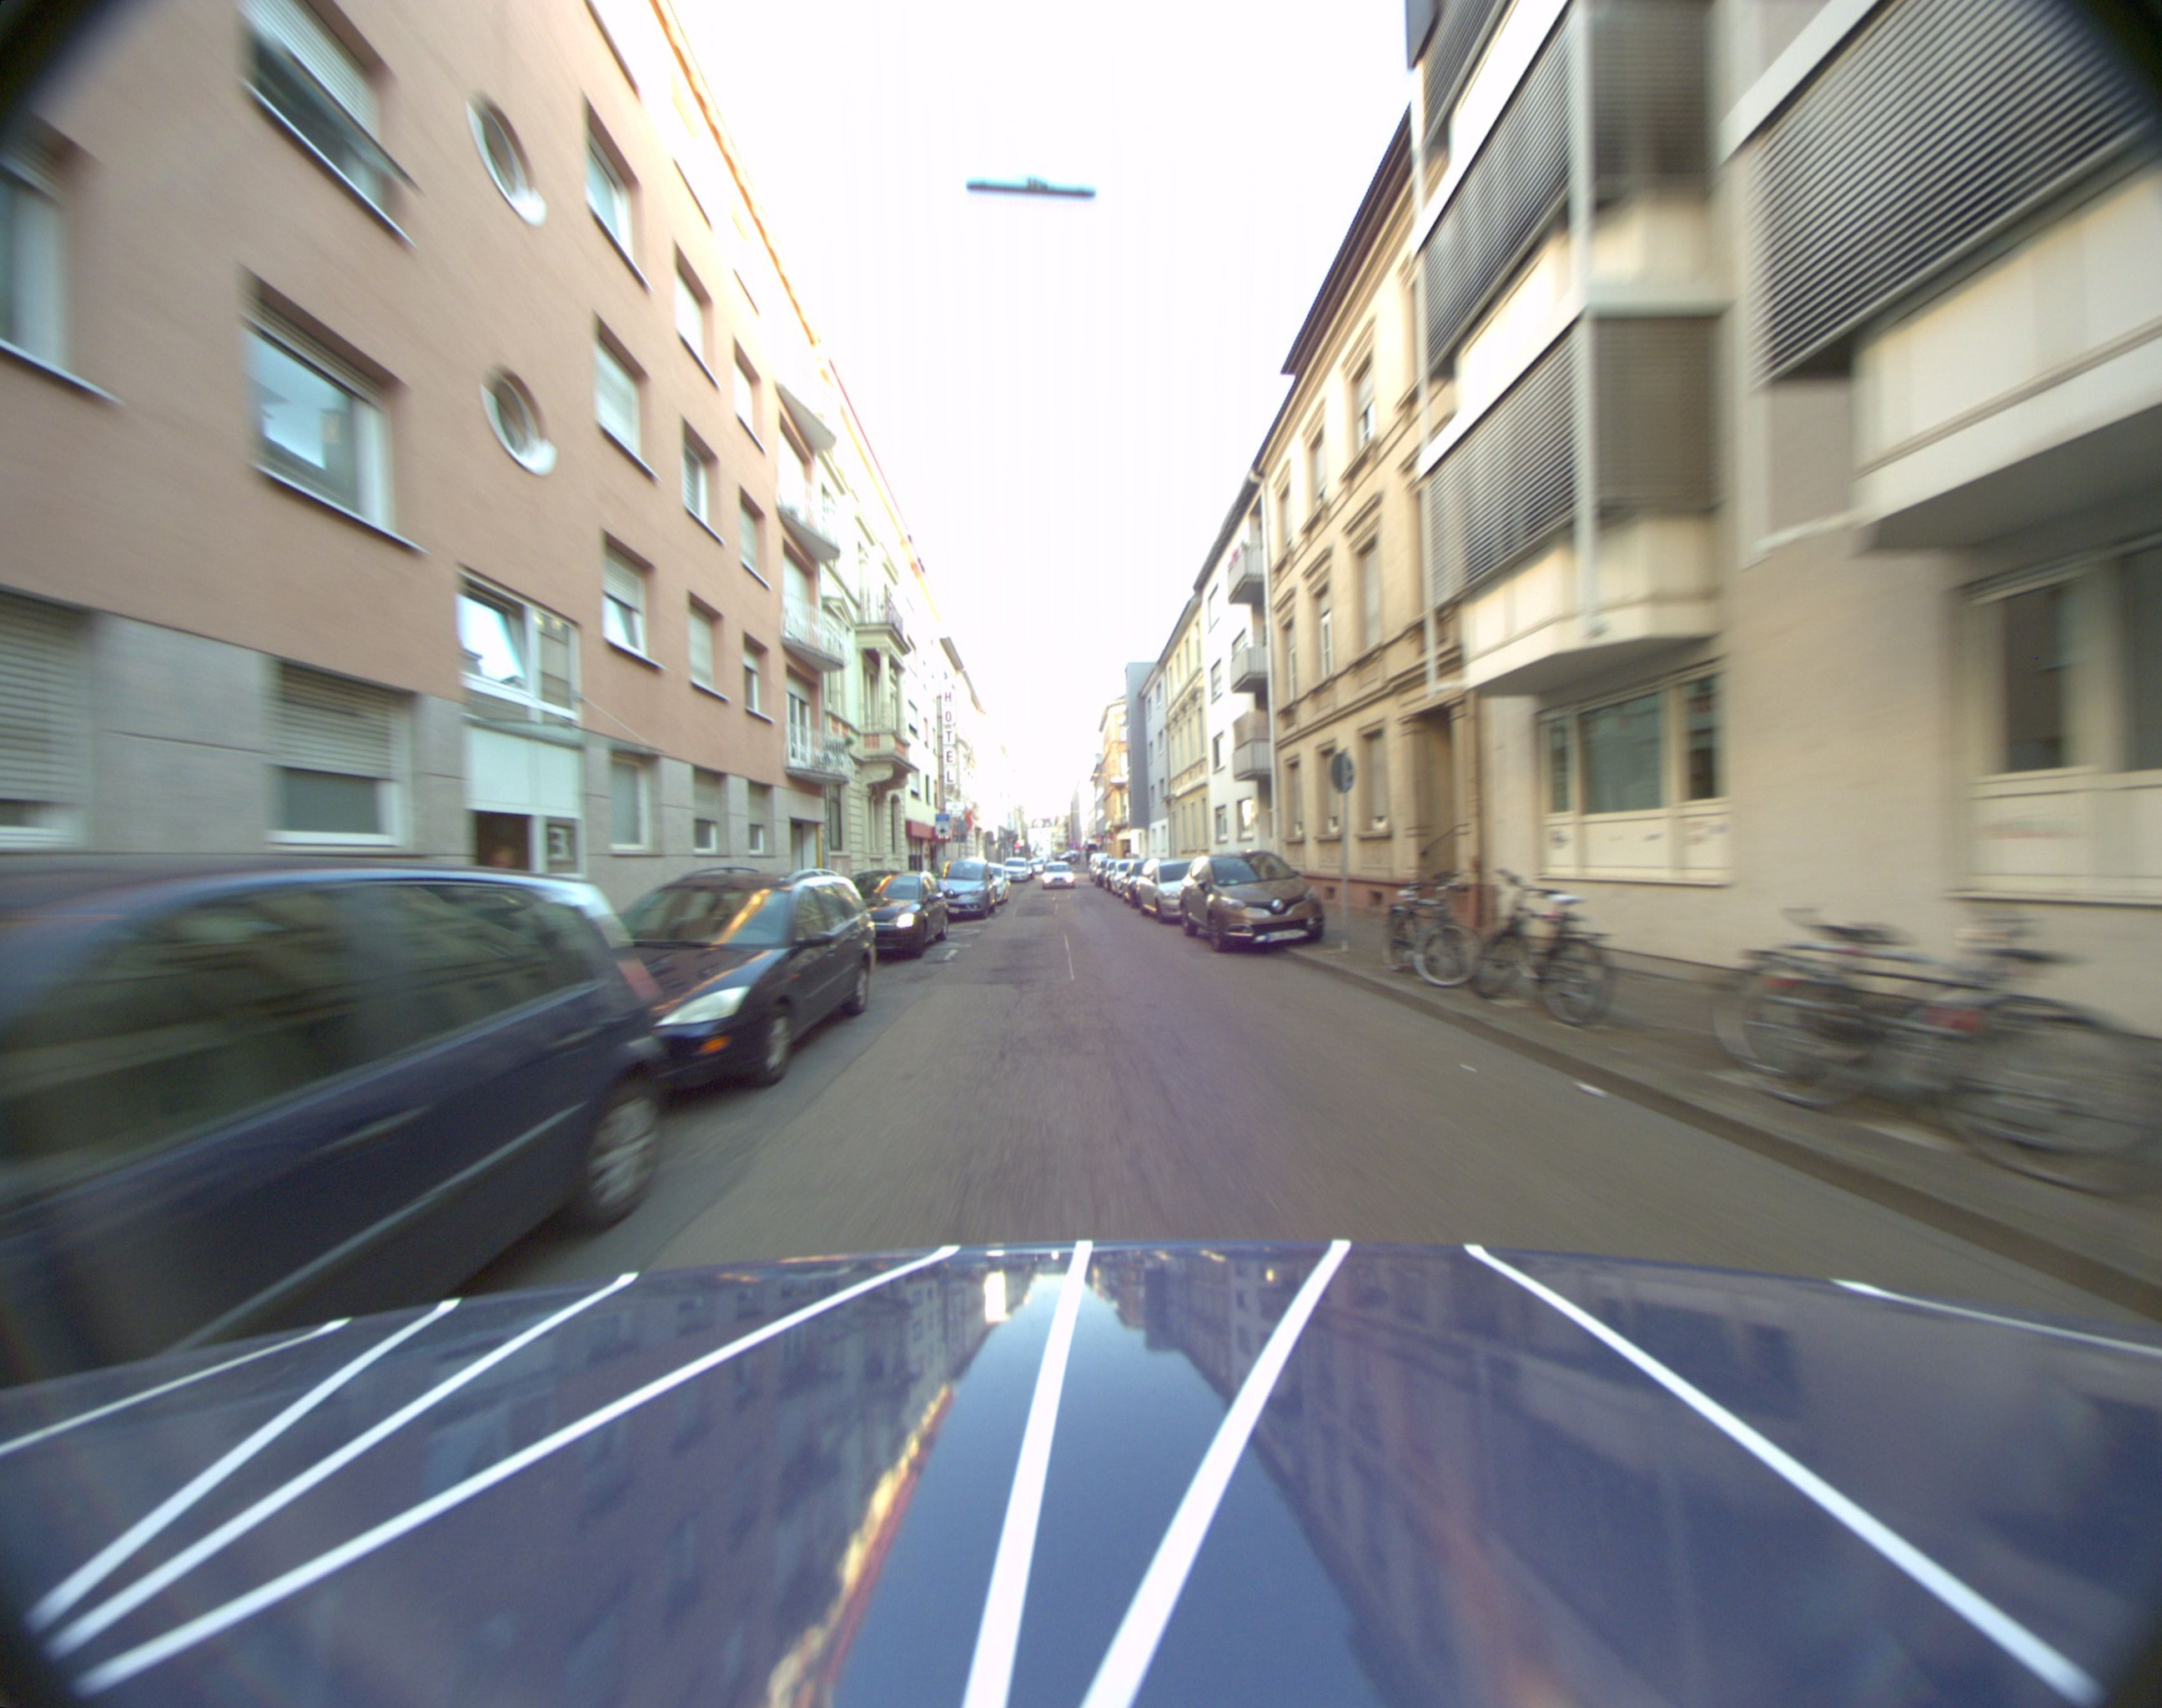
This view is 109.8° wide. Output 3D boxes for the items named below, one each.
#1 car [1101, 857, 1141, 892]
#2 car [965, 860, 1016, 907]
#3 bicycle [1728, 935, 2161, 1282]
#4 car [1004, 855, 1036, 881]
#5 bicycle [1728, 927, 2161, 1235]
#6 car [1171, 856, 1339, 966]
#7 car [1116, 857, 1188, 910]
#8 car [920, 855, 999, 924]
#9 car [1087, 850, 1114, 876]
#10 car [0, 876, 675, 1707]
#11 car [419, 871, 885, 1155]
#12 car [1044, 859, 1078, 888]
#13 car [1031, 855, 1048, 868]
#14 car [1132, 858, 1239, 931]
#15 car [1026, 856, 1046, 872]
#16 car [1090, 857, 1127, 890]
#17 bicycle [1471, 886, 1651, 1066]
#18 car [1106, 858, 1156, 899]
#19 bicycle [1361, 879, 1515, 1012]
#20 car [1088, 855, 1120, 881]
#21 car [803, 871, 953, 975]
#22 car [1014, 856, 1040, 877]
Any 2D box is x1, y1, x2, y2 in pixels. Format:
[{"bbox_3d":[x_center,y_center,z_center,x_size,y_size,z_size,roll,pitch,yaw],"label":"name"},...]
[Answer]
[{"bbox_3d":[1.869,0.923,36.350,1.642,1.480,3.953,-2,0,0],"label":"car"},{"bbox_3d":[-3.382,1.057,28.851,1.574,1.569,3.589,-2,0,-2],"label":"car"},{"bbox_3d":[3.971,0.999,3.544,0.308,1.036,1.813,-2,0,-1],"label":"bicycle"},{"bbox_3d":[-4.266,0.978,53.832,1.842,1.685,4.358,3,0,-1],"label":"car"},{"bbox_3d":[4.286,0.988,3.918,0.308,1.036,1.813,-2,0,-1],"label":"bicycle"},{"bbox_3d":[2.876,0.863,13.498,1.796,1.567,4.069,-2,0,-3],"label":"car"},{"bbox_3d":[2.265,0.906,25.354,1.795,1.530,4.493,-2,0,-2],"label":"car"},{"bbox_3d":[-3.409,0.942,21.994,1.694,1.731,4.108,-2,0,-2],"label":"car"},{"bbox_3d":[1.375,0.627,54.988,1.642,1.786,3.782,-2,0,-1],"label":"car"},{"bbox_3d":[-2.720,0.947,1.639,1.694,1.615,4.052,-2,0,-4],"label":"car"},{"bbox_3d":[-3.086,0.987,6.648,1.694,1.505,4.282,-2,0,-2],"label":"car"},{"bbox_3d":[-1.092,1.032,41.986,1.681,1.395,4.470,-3,0,-2],"label":"car"},{"bbox_3d":[-4.673,0.803,86.773,1.729,1.391,3.892,-2,0,-1],"label":"car"},{"bbox_3d":[2.500,0.919,19.278,1.796,1.530,4.432,-2,0,-3],"label":"car"},{"bbox_3d":[-4.503,0.982,76.112,1.729,1.391,3.892,-2,0,-1],"label":"car"},{"bbox_3d":[1.511,1.043,42.642,1.643,1.701,3.782,-2,0,-4],"label":"car"},{"bbox_3d":[3.935,0.919,6.399,0.308,1.215,1.813,-2,0,-1],"label":"bicycle"},{"bbox_3d":[2.024,0.961,31.414,1.642,1.480,3.788,-2,0,-2],"label":"car"},{"bbox_3d":[3.879,0.926,8.503,0.597,1.180,2.265,-2,0,-1],"label":"bicycle"},{"bbox_3d":[1.459,0.870,49.118,1.643,1.571,3.782,-2,0,-4],"label":"car"},{"bbox_3d":[-3.512,1.121,13.918,1.694,1.449,4.131,-2,0,-2],"label":"car"},{"bbox_3d":[-4.182,0.961,59.276,1.729,1.469,3.975,-3,0,-1],"label":"car"}]
